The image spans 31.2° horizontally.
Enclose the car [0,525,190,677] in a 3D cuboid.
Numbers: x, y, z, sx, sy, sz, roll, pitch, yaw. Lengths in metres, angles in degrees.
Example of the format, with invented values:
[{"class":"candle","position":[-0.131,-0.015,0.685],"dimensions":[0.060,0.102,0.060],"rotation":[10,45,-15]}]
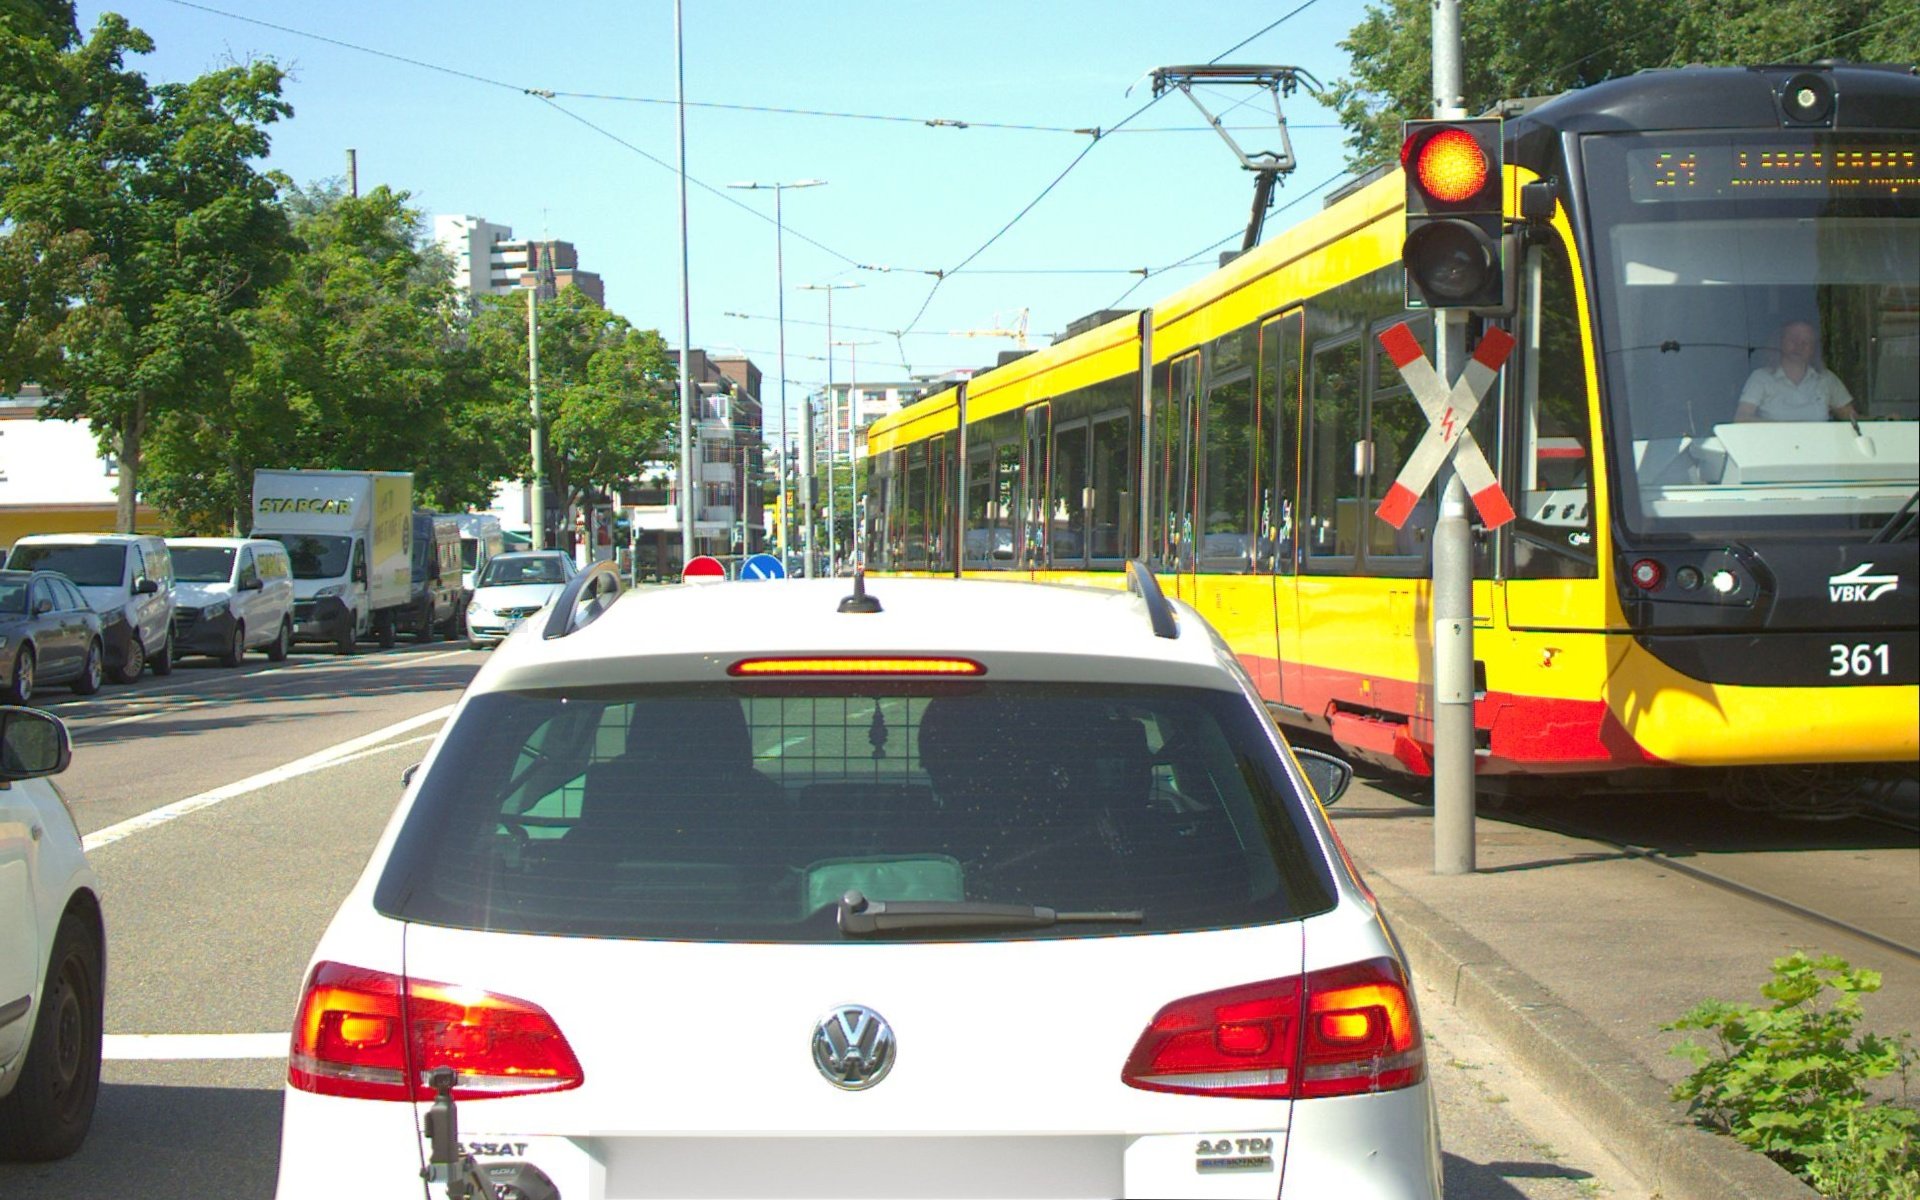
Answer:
[{"class":"car","position":[-11.413,-0.033,45.323],"dimensions":[1.863,1.861,5.075],"rotation":[1,1,-6]}]

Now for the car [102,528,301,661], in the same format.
[{"class":"car","position":[-11.379,-0.130,51.906],"dimensions":[1.863,1.861,5.414],"rotation":[1,1,-1]}]

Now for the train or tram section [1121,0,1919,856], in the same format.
[{"class":"train or tram section","position":[3.212,-1.018,20.318],"dimensions":[2.870,3.842,12.394],"rotation":[-1,1,-5]}]

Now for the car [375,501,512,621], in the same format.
[{"class":"car","position":[-11.321,-0.888,75.759],"dimensions":[2.123,2.508,5.733],"rotation":[1,1,0]}]

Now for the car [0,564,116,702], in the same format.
[{"class":"car","position":[-10.953,0.323,38.786],"dimensions":[1.863,1.411,4.280],"rotation":[1,1,-1]}]

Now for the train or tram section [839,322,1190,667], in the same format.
[{"class":"train or tram section","position":[0.444,-1.289,44.150],"dimensions":[2.870,3.842,10.541],"rotation":[-1,1,-8]}]

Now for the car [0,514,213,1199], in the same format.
[{"class":"car","position":[-2.938,0.588,7.346],"dimensions":[1.662,1.542,4.547],"rotation":[0,1,0]}]

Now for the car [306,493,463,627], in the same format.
[{"class":"car","position":[-11.370,-0.816,68.322],"dimensions":[2.123,2.508,5.733],"rotation":[1,1,0]}]

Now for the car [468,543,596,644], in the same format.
[{"class":"car","position":[-7.109,-0.134,57.378],"dimensions":[1.676,1.548,3.580],"rotation":[-3,1,-1]}]

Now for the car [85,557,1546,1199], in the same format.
[{"class":"car","position":[-0.188,0.670,6.198],"dimensions":[1.762,1.425,4.000],"rotation":[-1,1,-1]}]

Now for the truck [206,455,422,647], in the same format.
[{"class":"truck","position":[-11.231,-0.874,60.320],"dimensions":[2.421,3.139,6.997],"rotation":[1,1,0]}]

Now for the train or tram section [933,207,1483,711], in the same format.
[{"class":"train or tram section","position":[1.888,-1.202,32.762],"dimensions":[2.870,3.842,12.394],"rotation":[-1,1,-7]}]

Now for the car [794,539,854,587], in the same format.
[{"class":"car","position":[-4.432,-1.234,112.519],"dimensions":[1.705,1.468,4.589],"rotation":[-2,1,1]}]
